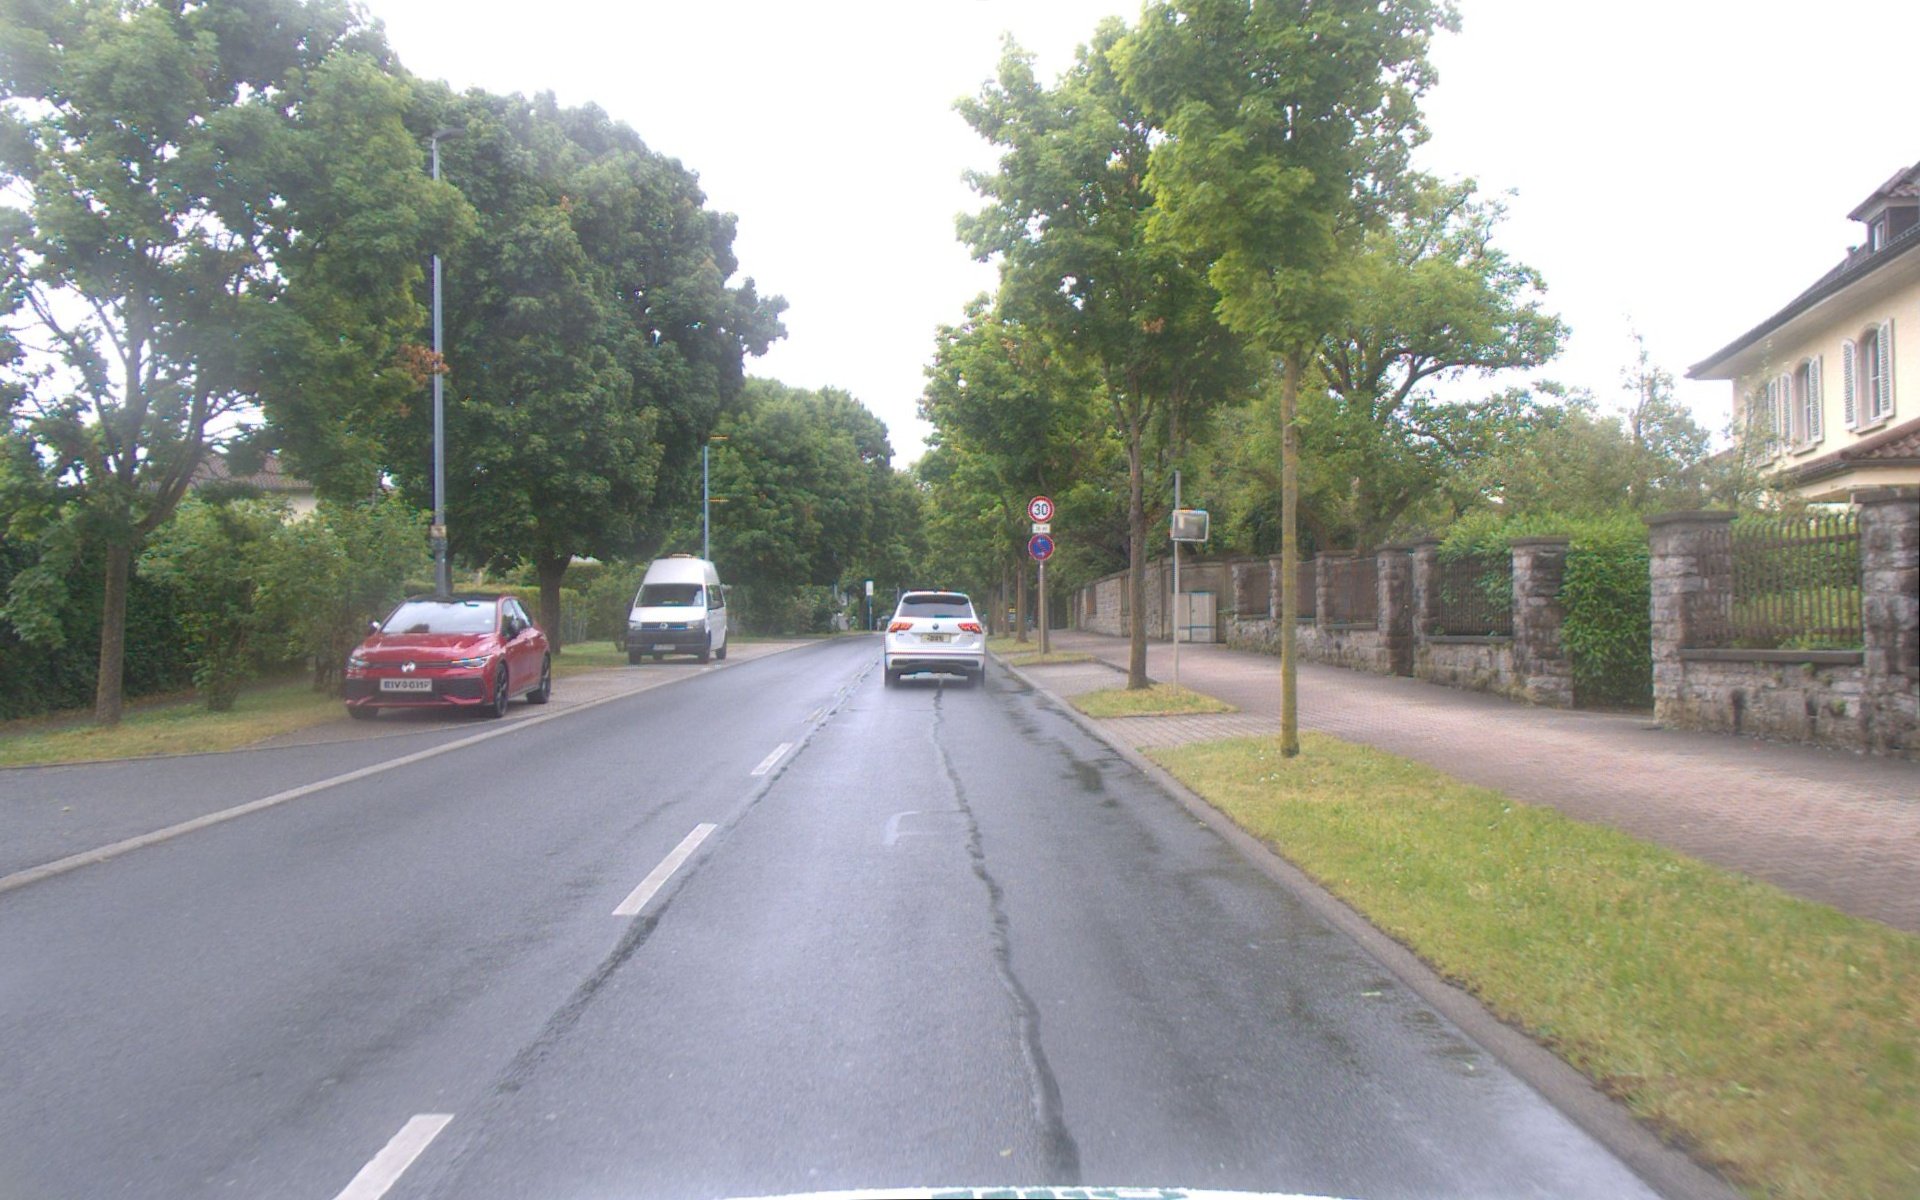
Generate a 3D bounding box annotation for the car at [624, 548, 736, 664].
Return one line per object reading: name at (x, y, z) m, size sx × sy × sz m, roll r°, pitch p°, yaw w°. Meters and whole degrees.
car at (-6.710, 0.135, 40.096) m, size 1.953 × 2.606 × 5.230 m, roll -1°, pitch 0°, yaw -2°

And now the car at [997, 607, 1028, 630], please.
car at (3.829, 1.373, 120.957) m, size 1.801 × 1.513 × 4.003 m, roll -3°, pitch -2°, yaw 8°

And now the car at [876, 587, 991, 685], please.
car at (-0.486, 0.622, 30.312) m, size 1.956 × 1.660 × 3.999 m, roll 0°, pitch 0°, yaw -1°

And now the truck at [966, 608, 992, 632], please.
truck at (2.241, 2.366, 193.121) m, size 2.236 × 2.642 × 5.878 m, roll -1°, pitch -1°, yaw 7°

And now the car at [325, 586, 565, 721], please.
car at (-6.273, 0.588, 20.658) m, size 1.806 × 1.491 × 4.248 m, roll 0°, pitch 0°, yaw -2°
